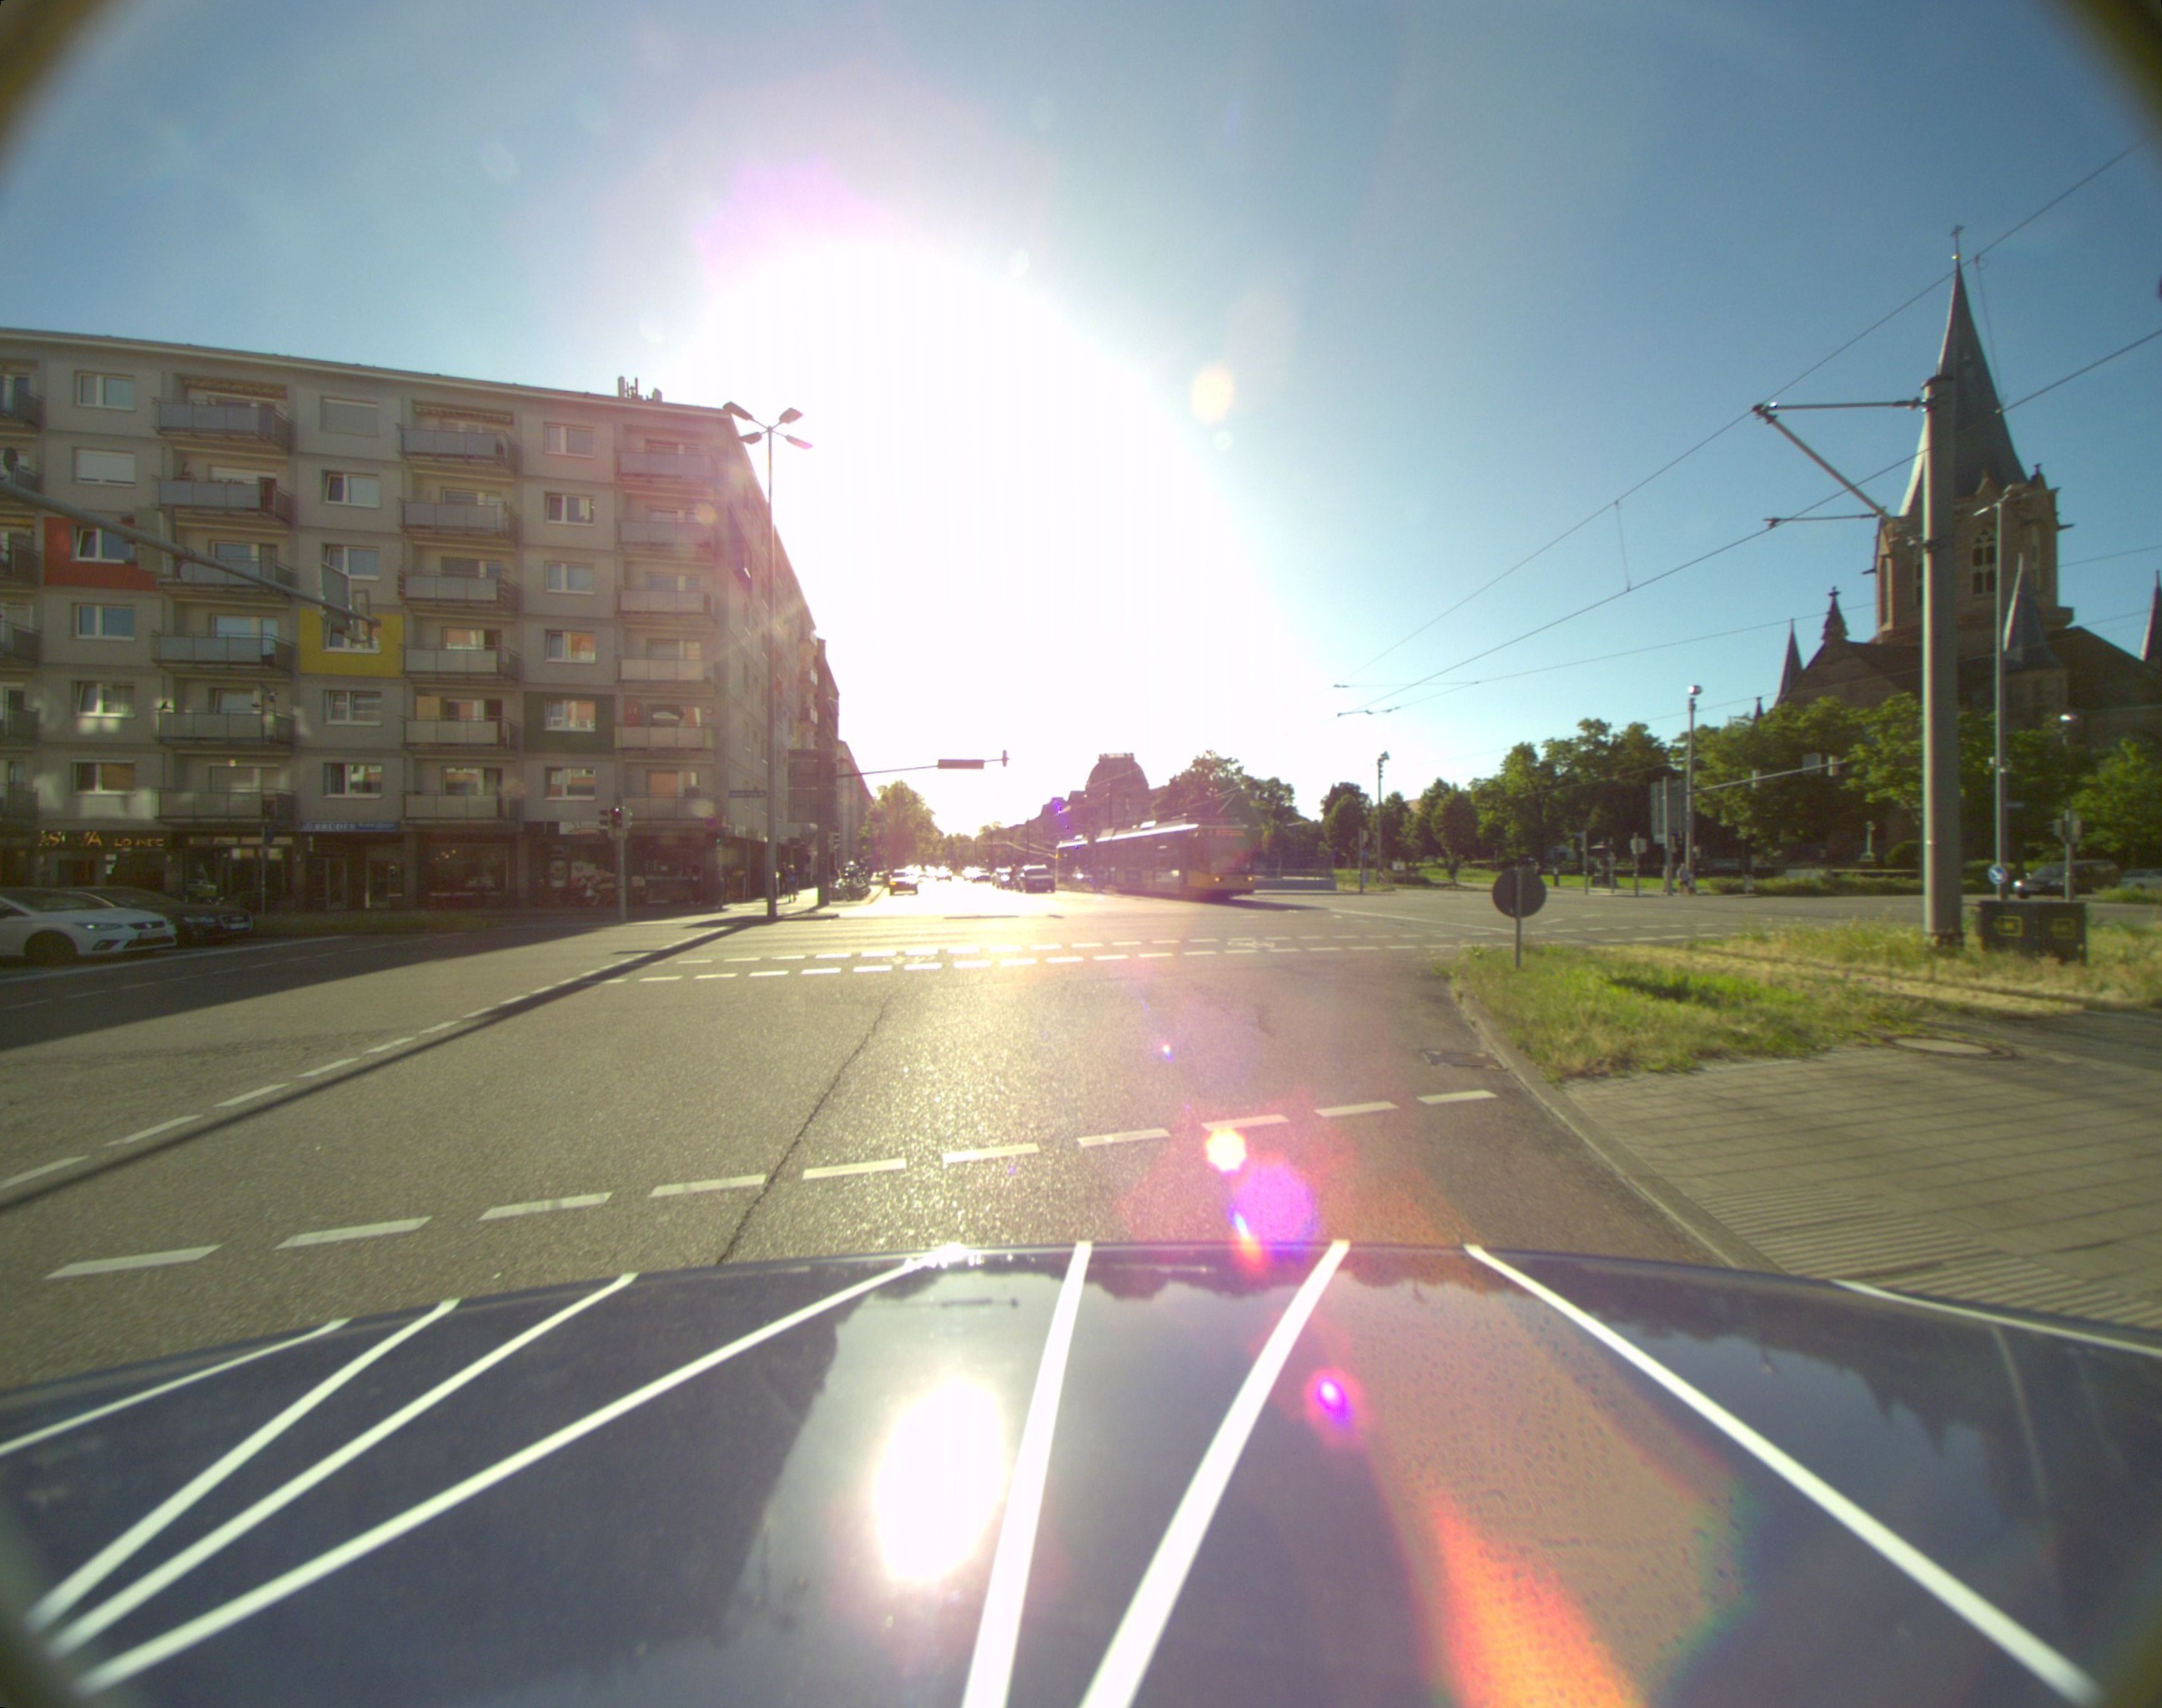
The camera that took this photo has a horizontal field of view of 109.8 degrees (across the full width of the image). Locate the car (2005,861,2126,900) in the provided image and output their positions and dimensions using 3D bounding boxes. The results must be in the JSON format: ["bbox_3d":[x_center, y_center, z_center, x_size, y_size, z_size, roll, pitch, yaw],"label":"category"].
[{"bbox_3d":[45.268,1.192,34.964,3.944,1.565,1.836,-2,1,-11],"label":"car"}]

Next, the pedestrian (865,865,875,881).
[{"bbox_3d":[-21.620,1.958,77.778,0.773,1.641,0.671,-1,0,-1],"label":"pedestrian"}]

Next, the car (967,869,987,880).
[{"bbox_3d":[-12.442,2.412,90.717,1.989,1.284,4.322,-1,-1,-13],"label":"car"}]

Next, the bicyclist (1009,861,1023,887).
[{"bbox_3d":[-4.386,1.332,51.260,0.704,1.720,0.852,-3,1,-18],"label":"bicyclist"}]

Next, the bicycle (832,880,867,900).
[{"bbox_3d":[-11.728,1.811,38.536,1.706,1.005,0.410,1,0,-16],"label":"bicycle"}]

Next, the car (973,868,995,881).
[{"bbox_3d":[-10.208,2.102,79.468,1.860,1.284,4.091,-1,-1,-13],"label":"car"}]

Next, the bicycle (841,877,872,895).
[{"bbox_3d":[-13.638,1.954,46.191,1.825,1.054,0.415,0,1,-17],"label":"bicycle"}]

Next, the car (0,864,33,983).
[{"bbox_3d":[-18.908,1.163,10.726,4.603,1.839,1.945,-2,1,-13],"label":"car"}]

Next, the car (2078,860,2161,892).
[{"bbox_3d":[60.379,1.242,43.521,4.712,1.565,1.768,-2,1,-6],"label":"car"}]

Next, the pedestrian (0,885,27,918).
[{"bbox_3d":[-38.937,1.705,27.508,0.663,1.160,0.604,0,0,-9],"label":"pedestrian"}]

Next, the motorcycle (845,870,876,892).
[{"bbox_3d":[-14.407,1.769,49.628,1.886,1.421,0.887,1,0,-17],"label":"motorcycle"}]

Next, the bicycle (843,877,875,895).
[{"bbox_3d":[-13.635,1.955,46.663,1.825,1.054,0.415,0,0,-17],"label":"bicycle"}]

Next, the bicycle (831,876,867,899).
[{"bbox_3d":[-11.963,1.717,39.225,1.758,1.070,0.405,-2,1,-15],"label":"bicycle"}]

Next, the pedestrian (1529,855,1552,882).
[{"bbox_3d":[32.706,1.021,54.079,0.845,1.836,1.114,-2,1,-15],"label":"pedestrian"}]

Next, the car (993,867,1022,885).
[{"bbox_3d":[-6.307,1.829,64.695,1.893,1.421,4.128,-2,0,-13],"label":"car"}]

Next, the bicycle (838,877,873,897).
[{"bbox_3d":[-12.540,1.838,42.338,1.824,1.054,0.415,-2,1,-13],"label":"bicycle"}]

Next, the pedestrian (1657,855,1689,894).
[{"bbox_3d":[31.497,1.073,40.440,0.879,2.002,0.924,-2,1,-12],"label":"pedestrian"}]

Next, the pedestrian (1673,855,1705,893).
[{"bbox_3d":[32.562,1.070,40.703,0.879,2.002,0.924,-2,1,-12],"label":"pedestrian"}]

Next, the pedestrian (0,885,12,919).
[{"bbox_3d":[-38.262,1.692,26.729,0.564,1.160,0.529,0,0,-9],"label":"pedestrian"}]

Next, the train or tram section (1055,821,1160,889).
[{"bbox_3d":[1.207,0.167,47.601,2.960,3.591,13.620,-1,-1,-14],"label":"train or tram section"}]

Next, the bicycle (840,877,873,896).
[{"bbox_3d":[-12.991,1.878,43.897,1.825,1.063,0.414,0,1,-17],"label":"bicycle"}]

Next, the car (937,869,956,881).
[{"bbox_3d":[-16.251,2.514,91.477,1.989,1.284,4.388,-1,-1,-13],"label":"car"}]

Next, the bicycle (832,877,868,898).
[{"bbox_3d":[-12.030,1.746,39.640,1.756,1.093,0.399,0,0,-15],"label":"bicycle"}]

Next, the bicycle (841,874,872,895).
[{"bbox_3d":[-13.411,1.797,45.410,1.784,1.222,0.415,-1,0,-17],"label":"bicycle"}]

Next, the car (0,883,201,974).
[{"bbox_3d":[-19.489,1.382,13.913,4.002,1.432,1.846,-2,1,-14],"label":"car"}]

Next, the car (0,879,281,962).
[{"bbox_3d":[-20.575,1.400,16.487,4.159,1.460,1.973,-2,0,-3],"label":"car"}]

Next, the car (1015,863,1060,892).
[{"bbox_3d":[-2.739,1.402,46.592,2.001,1.528,4.351,-2,0,-13],"label":"car"}]

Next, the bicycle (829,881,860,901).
[{"bbox_3d":[-11.639,1.819,37.465,1.434,1.005,0.410,0,0,-12],"label":"bicycle"}]

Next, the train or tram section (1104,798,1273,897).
[{"bbox_3d":[4.275,-0.133,34.944,2.960,3.663,13.170,-1,-1,-14],"label":"train or tram section"}]

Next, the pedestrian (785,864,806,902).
[{"bbox_3d":[-13.489,1.345,35.924,0.792,1.766,0.874,-1,0,-14],"label":"pedestrian"}]

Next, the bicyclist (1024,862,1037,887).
[{"bbox_3d":[-3.451,1.359,51.498,0.694,1.650,0.918,-2,1,-13],"label":"bicyclist"}]

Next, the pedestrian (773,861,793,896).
[{"bbox_3d":[-16.082,1.306,41.039,0.791,1.874,0.874,-1,0,-6],"label":"pedestrian"}]

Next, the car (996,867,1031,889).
[{"bbox_3d":[-5.043,1.728,56.560,2.001,1.421,4.128,-2,0,-13],"label":"car"}]

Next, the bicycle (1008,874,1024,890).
[{"bbox_3d":[-4.374,1.882,51.285,0.631,0.934,1.903,-2,0,-18],"label":"bicycle"}]

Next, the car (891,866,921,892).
[{"bbox_3d":[-11.978,1.672,52.135,1.903,1.677,4.114,-1,-1,-12],"label":"car"}]

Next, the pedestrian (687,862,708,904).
[{"bbox_3d":[-16.444,1.250,32.555,0.569,1.763,0.664,-1,0,-6],"label":"pedestrian"}]

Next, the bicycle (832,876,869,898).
[{"bbox_3d":[-12.261,1.749,40.508,1.820,1.076,0.530,-2,1,-16],"label":"bicycle"}]

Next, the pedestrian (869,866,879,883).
[{"bbox_3d":[-23.557,2.354,86.454,0.868,1.872,1.220,-1,0,-29],"label":"pedestrian"}]

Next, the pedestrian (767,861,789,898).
[{"bbox_3d":[-15.409,1.302,38.637,0.866,1.824,1.209,-1,0,-14],"label":"pedestrian"}]
